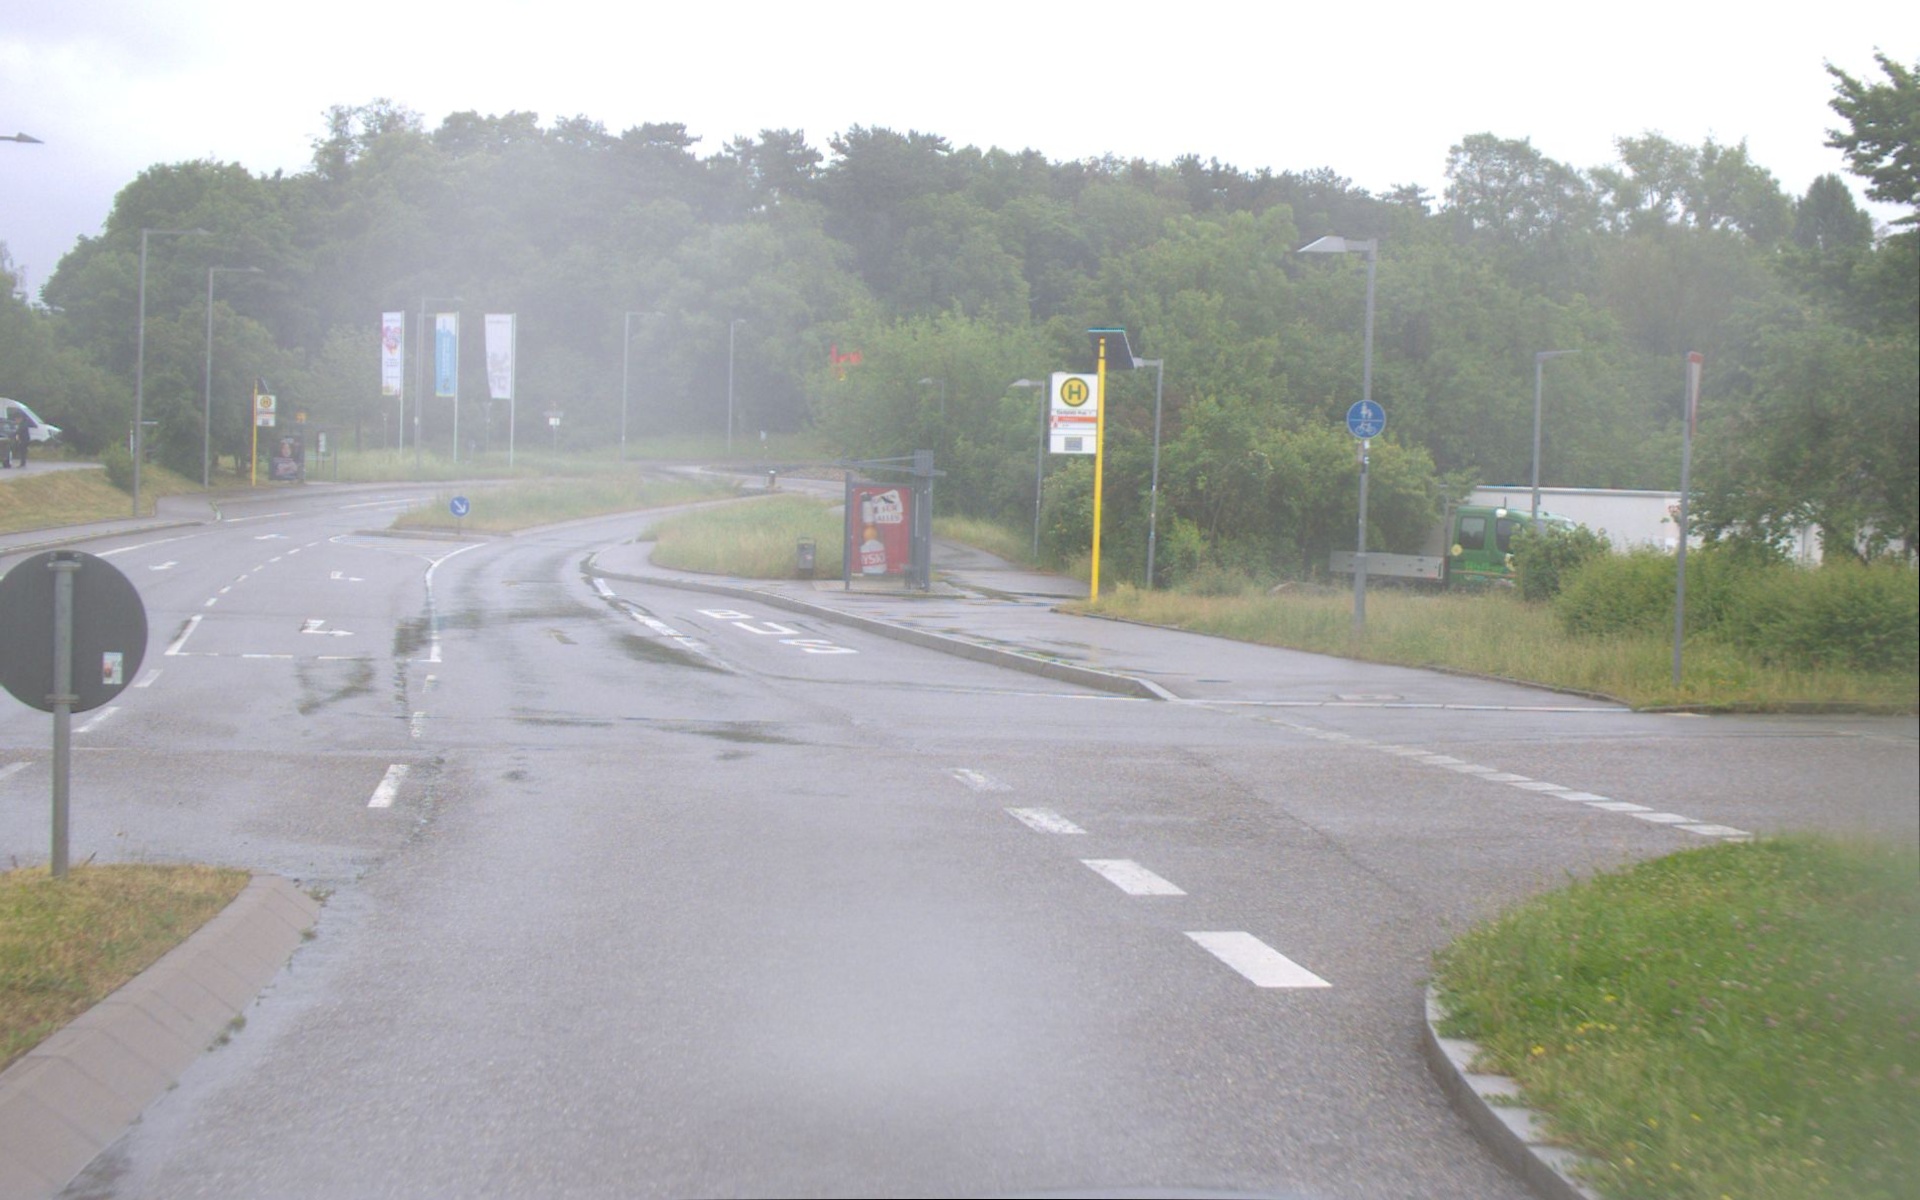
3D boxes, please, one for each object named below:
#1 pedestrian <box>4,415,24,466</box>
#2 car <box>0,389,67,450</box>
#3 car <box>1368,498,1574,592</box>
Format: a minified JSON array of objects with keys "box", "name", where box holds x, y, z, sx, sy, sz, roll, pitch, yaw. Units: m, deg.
[{"box":[-30.975,-5.224,112.549,0.565,1.615,0.637,1,1,-20],"name":"pedestrian"},{"box":[-40.132,-7.516,142.712,5.674,2.396,2.001,1,1,-8],"name":"car"},{"box":[10.013,-1.051,67.419,3.420,1.685,1.995,0,-3,41],"name":"car"}]
